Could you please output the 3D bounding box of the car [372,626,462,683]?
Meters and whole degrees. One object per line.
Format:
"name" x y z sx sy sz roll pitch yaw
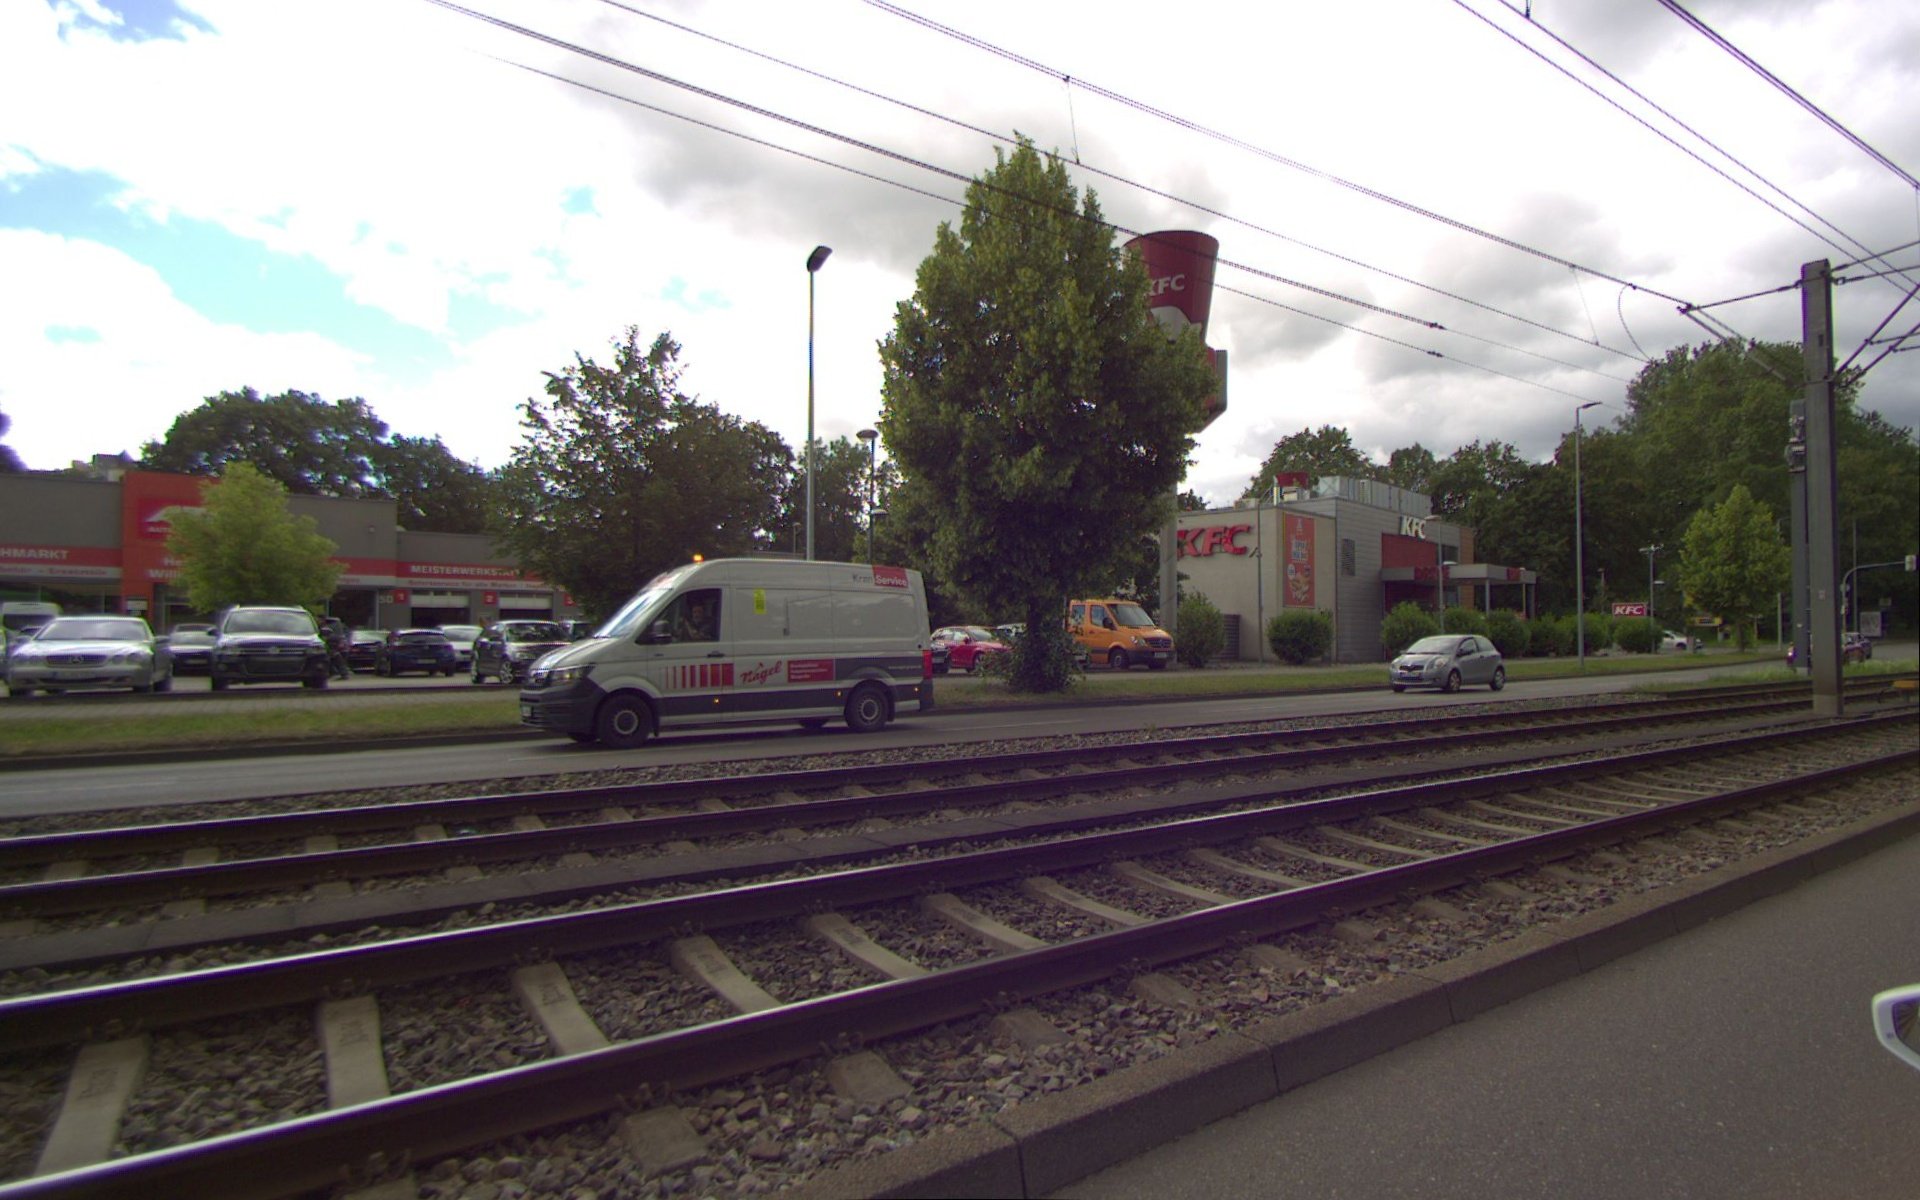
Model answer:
"car" -16.781 1.625 30.968 1.934 1.517 3.701 1 0 -36

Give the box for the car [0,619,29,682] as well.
"car" -28.377 1.423 29.039 1.707 1.644 3.701 1 0 -36

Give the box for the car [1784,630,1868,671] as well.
"car" 36.065 2.092 41.796 4.441 1.602 1.770 2 -4 -38

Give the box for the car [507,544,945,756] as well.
"car" -3.180 0.699 14.551 5.942 2.532 1.856 1 -3 -36

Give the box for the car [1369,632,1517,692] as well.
"car" 13.166 1.666 27.326 3.962 1.502 1.981 1 -4 -36

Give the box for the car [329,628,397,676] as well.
"car" -20.458 1.735 34.360 1.650 1.386 3.701 1 0 -36

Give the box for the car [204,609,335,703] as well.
"car" -13.444 1.004 19.621 1.918 1.527 3.961 1 0 -35

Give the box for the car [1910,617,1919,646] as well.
"car" 68.593 2.201 70.716 4.211 2.040 1.978 1 -2 -39

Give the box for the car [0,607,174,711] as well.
"car" -15.335 0.956 17.773 1.982 1.527 3.961 1 0 -35

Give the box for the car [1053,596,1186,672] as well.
"car" 5.039 1.032 32.161 2.038 2.194 3.961 1 0 -35

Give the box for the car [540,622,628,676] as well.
"car" -12.498 1.598 33.269 1.809 1.669 3.702 1 -2 -36

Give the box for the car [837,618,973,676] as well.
"car" -1.630 1.266 28.402 2.073 1.385 3.961 1 0 -35

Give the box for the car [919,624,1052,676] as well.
"car" 0.687 1.426 29.632 1.980 1.253 3.961 1 0 -35

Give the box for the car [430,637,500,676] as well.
"car" -17.761 1.976 35.969 1.650 1.147 3.701 1 0 -36

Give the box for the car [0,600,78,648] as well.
"car" -34.761 0.875 37.901 1.903 1.644 3.701 1 0 -36

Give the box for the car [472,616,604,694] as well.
"car" -9.464 1.152 22.360 1.918 1.440 3.961 1 0 -35

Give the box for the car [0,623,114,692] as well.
"car" -23.258 1.412 25.915 1.934 1.510 3.701 1 0 -36

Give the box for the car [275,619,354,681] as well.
"car" -18.915 1.435 29.376 1.686 1.669 3.702 1 -2 -36

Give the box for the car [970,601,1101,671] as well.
"car" 2.277 1.073 31.208 1.980 1.944 3.961 1 0 -35

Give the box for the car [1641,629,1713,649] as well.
"car" 51.677 2.818 72.435 1.829 1.426 3.853 1 -2 -35
